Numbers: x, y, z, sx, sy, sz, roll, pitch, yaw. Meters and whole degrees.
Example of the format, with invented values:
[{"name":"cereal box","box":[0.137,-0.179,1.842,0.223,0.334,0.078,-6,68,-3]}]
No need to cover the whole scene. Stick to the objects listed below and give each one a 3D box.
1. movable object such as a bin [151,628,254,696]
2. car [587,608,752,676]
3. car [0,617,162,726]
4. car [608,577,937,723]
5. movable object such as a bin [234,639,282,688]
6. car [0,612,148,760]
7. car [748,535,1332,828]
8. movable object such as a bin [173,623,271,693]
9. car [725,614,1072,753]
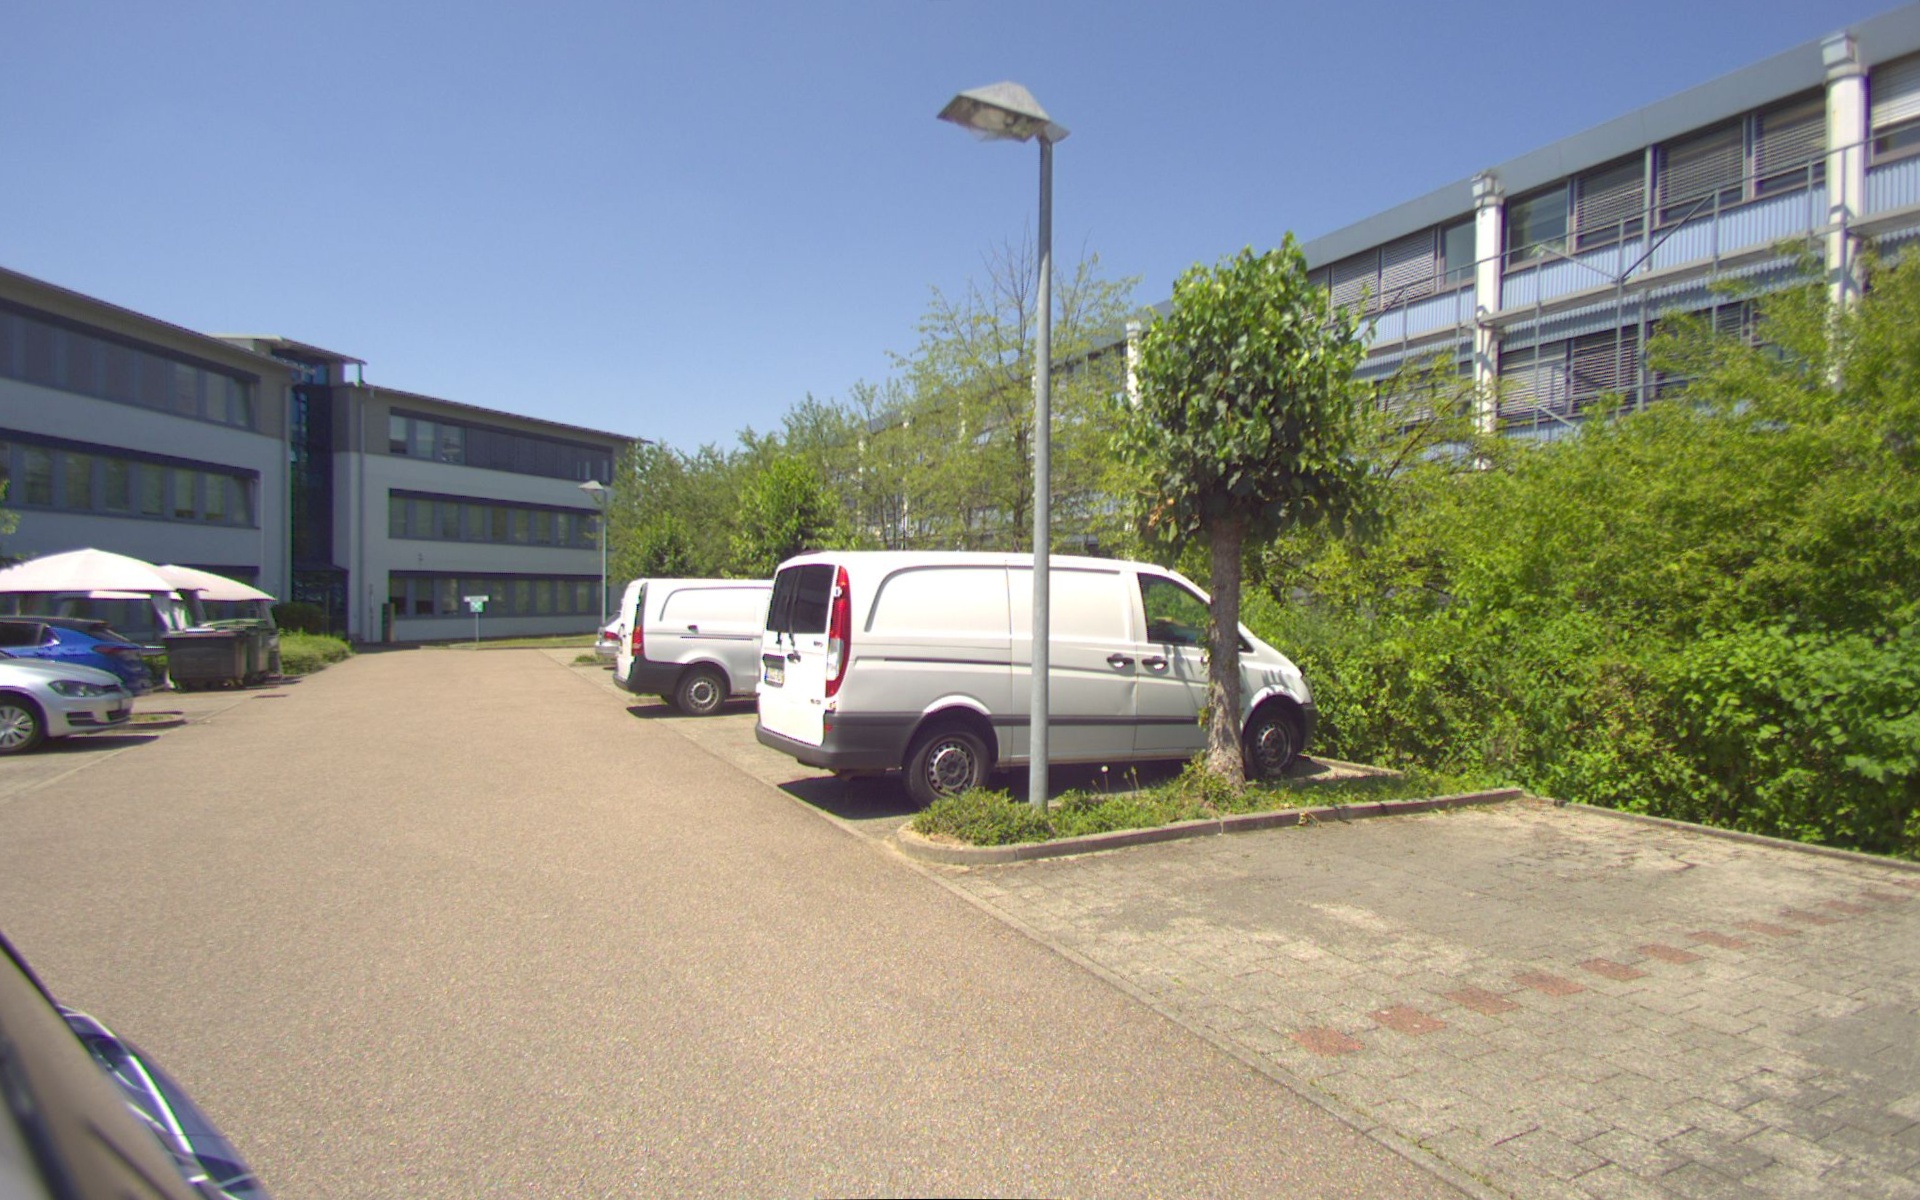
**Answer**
[{"name":"movable object such as a bin","box":[-14.283,1.148,19.138,1.341,1.198,1.000,0,-1,-22]},{"name":"car","box":[-7.222,0.995,25.196,3.700,1.569,1.666,0,-1,-28]},{"name":"car","box":[-13.312,0.933,13.623,3.761,1.402,1.657,2,-1,-28]},{"name":"car","box":[-2.747,0.663,14.993,4.442,1.896,1.835,0,-1,-28]},{"name":"movable object such as a bin","box":[-14.654,1.316,21.132,0.679,0.956,0.724,0,-1,-22]},{"name":"car","box":[-11.456,0.861,10.482,4.442,1.508,1.835,1,-1,-28]},{"name":"car","box":[0.750,0.545,8.540,4.653,1.920,1.835,0,-1,-28]},{"name":"movable object such as a bin","box":[-14.640,1.128,20.128,1.341,1.306,1.046,0,-1,-22]},{"name":"car","box":[-0.700,0.874,11.963,3.785,1.404,1.582,0,-1,-28]}]
